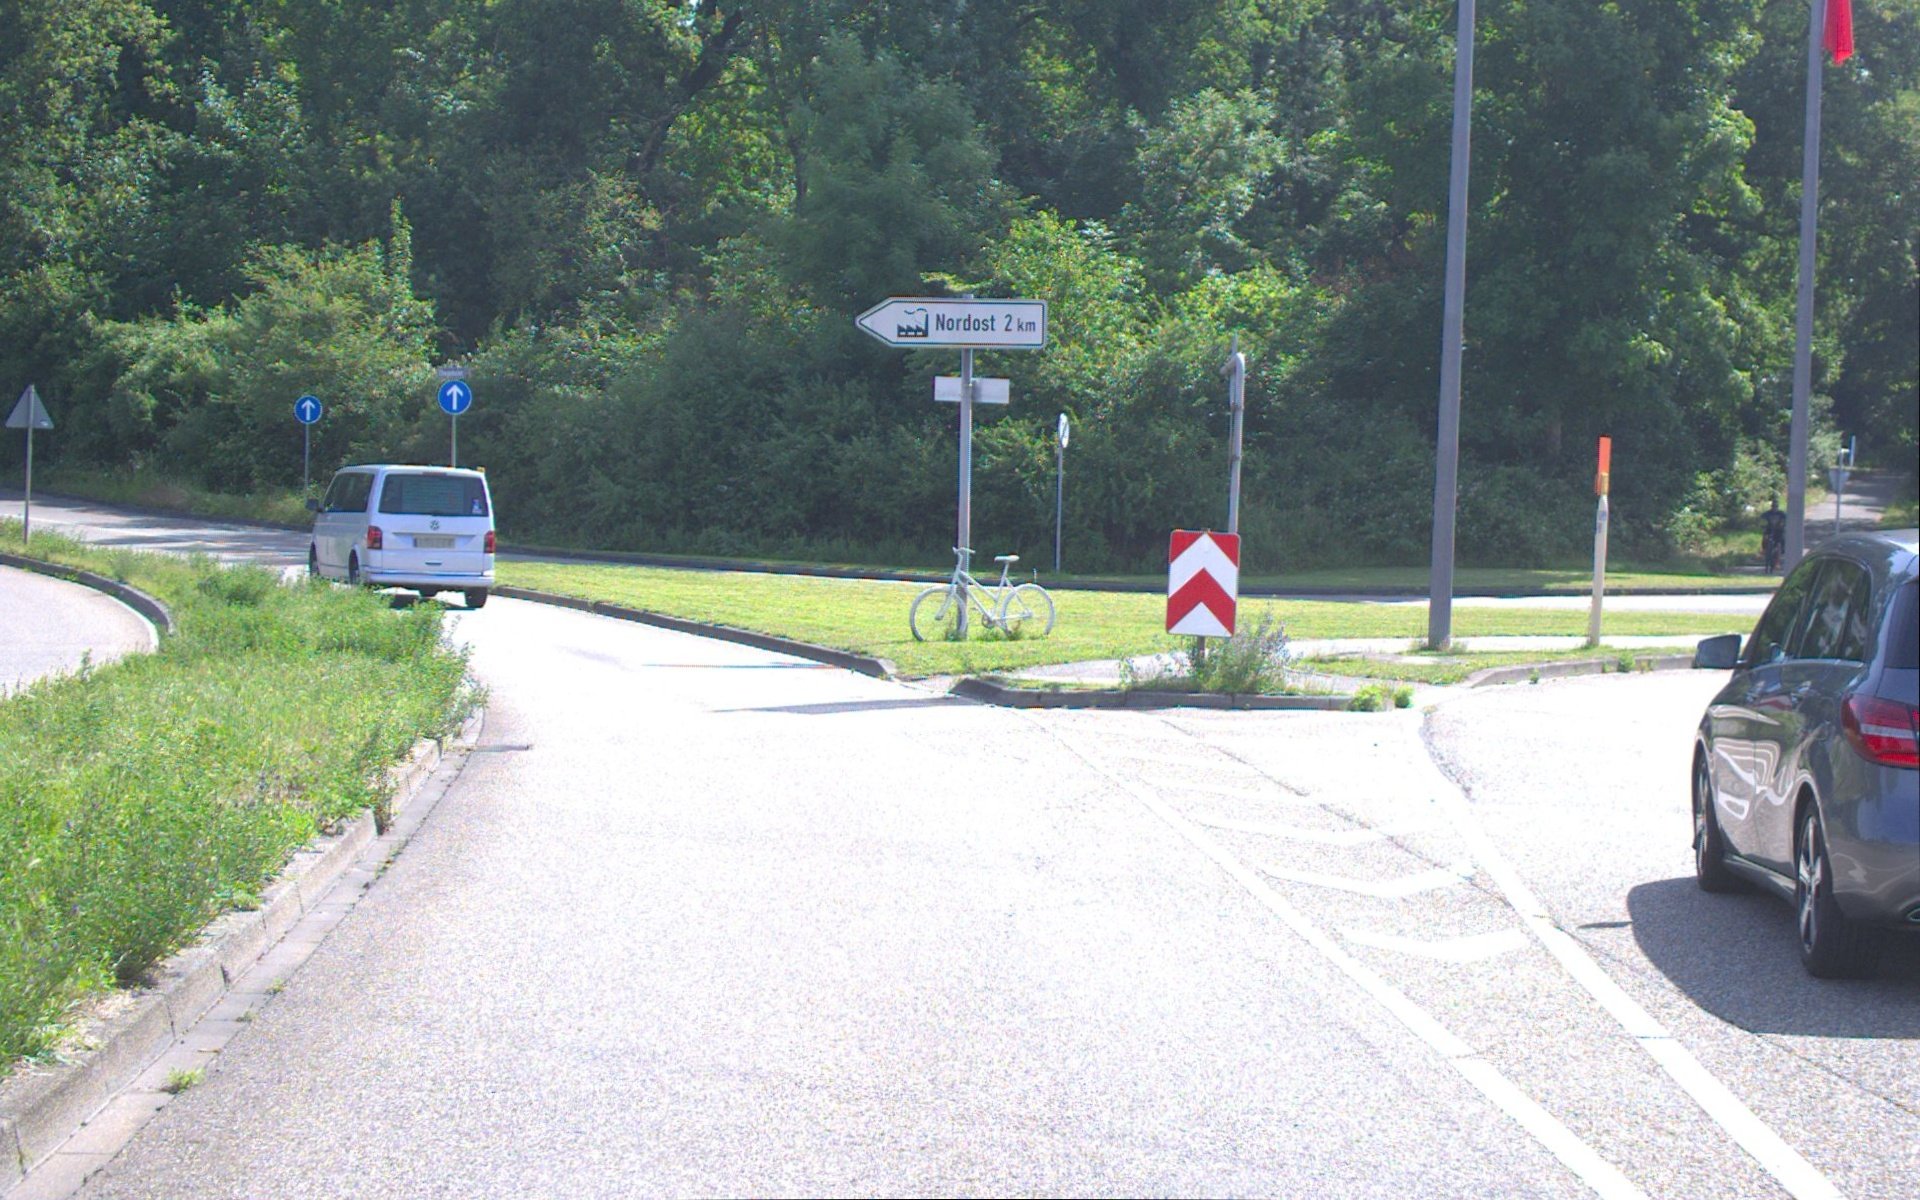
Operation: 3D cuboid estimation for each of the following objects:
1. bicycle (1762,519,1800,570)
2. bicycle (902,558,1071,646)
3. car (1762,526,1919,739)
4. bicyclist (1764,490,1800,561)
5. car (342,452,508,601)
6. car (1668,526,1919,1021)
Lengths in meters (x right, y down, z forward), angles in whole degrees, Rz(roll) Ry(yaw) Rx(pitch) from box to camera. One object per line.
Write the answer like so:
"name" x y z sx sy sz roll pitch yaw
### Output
"bicycle" 18.356 -1.246 76.831 0.724 0.974 2.185 3 5 15
"bicycle" 0.277 0.015 35.639 1.783 0.886 0.271 0 2 -23
"car" 7.604 0.225 28.136 1.857 1.524 4.141 5 2 14
"bicyclist" 18.358 -1.663 76.783 0.675 1.528 0.846 3 4 16
"car" -7.649 -1.066 48.877 2.038 2.006 4.002 1 2 -13
"car" 3.871 0.506 12.694 1.856 1.524 4.144 1 1 3
